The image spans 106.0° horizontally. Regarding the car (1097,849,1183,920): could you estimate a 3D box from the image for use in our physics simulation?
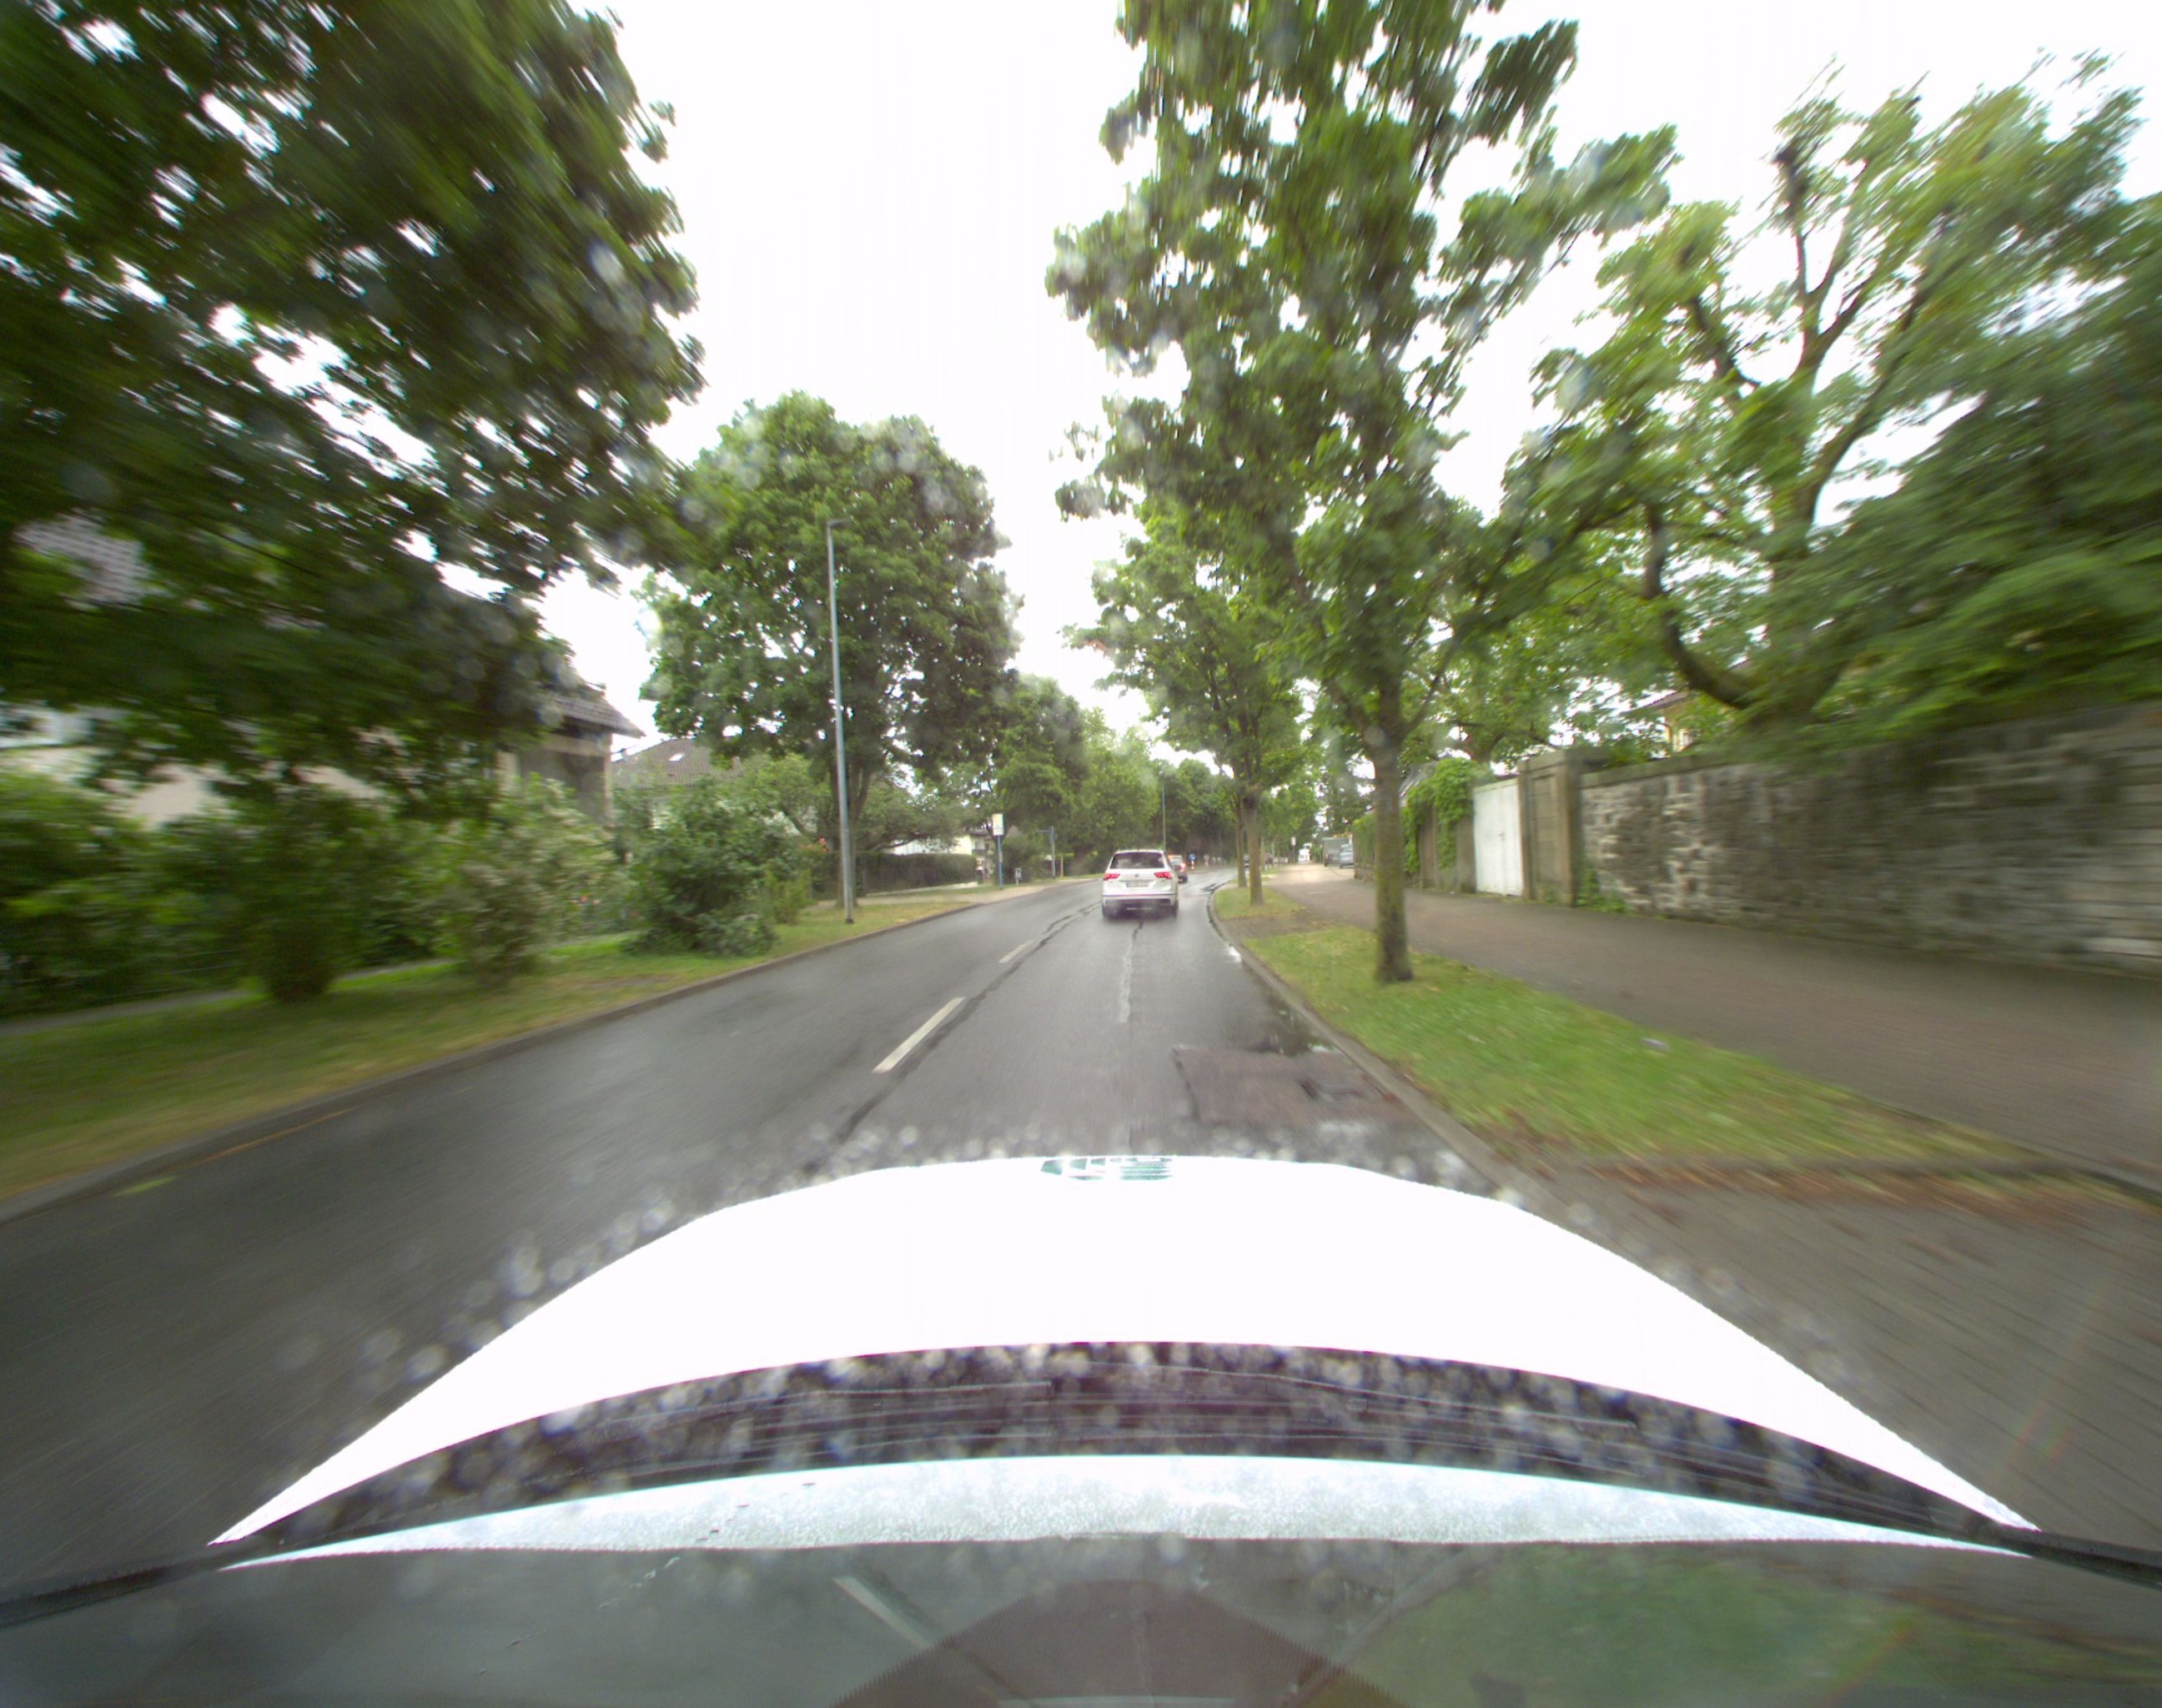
[{"bbox_3d":[1.550,0.714,20.832,1.987,1.632,4.006,0,0,5],"label":"car"}]

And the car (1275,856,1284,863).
[{"bbox_3d":[37.544,1.105,153.690,1.625,1.326,4.015,0,0,14],"label":"car"}]

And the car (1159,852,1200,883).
[{"bbox_3d":[5.410,0.744,44.459,1.828,1.487,4.012,-4,-1,11],"label":"car"}]

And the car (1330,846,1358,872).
[{"bbox_3d":[17.943,0.320,55.691,1.730,1.611,4.018,-3,-1,17],"label":"car"}]

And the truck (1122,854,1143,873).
[{"bbox_3d":[7.547,1.350,118.970,2.271,2.597,5.889,-2,-1,9],"label":"truck"}]

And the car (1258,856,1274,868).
[{"bbox_3d":[24.947,1.092,110.165,1.829,1.487,4.011,-4,-1,10],"label":"car"}]

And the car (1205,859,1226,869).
[{"bbox_3d":[22.692,1.676,137.589,1.847,1.482,3.974,-2,-1,-19],"label":"car"}]

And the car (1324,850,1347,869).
[{"bbox_3d":[21.207,0.456,67.940,1.757,1.498,4.564,-3,-1,17],"label":"car"}]

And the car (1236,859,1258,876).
[{"bbox_3d":[15.664,1.225,76.757,1.827,1.487,4.016,0,0,15],"label":"car"}]

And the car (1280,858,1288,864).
[{"bbox_3d":[44.288,1.448,177.779,1.625,1.326,4.015,0,0,14],"label":"car"}]
